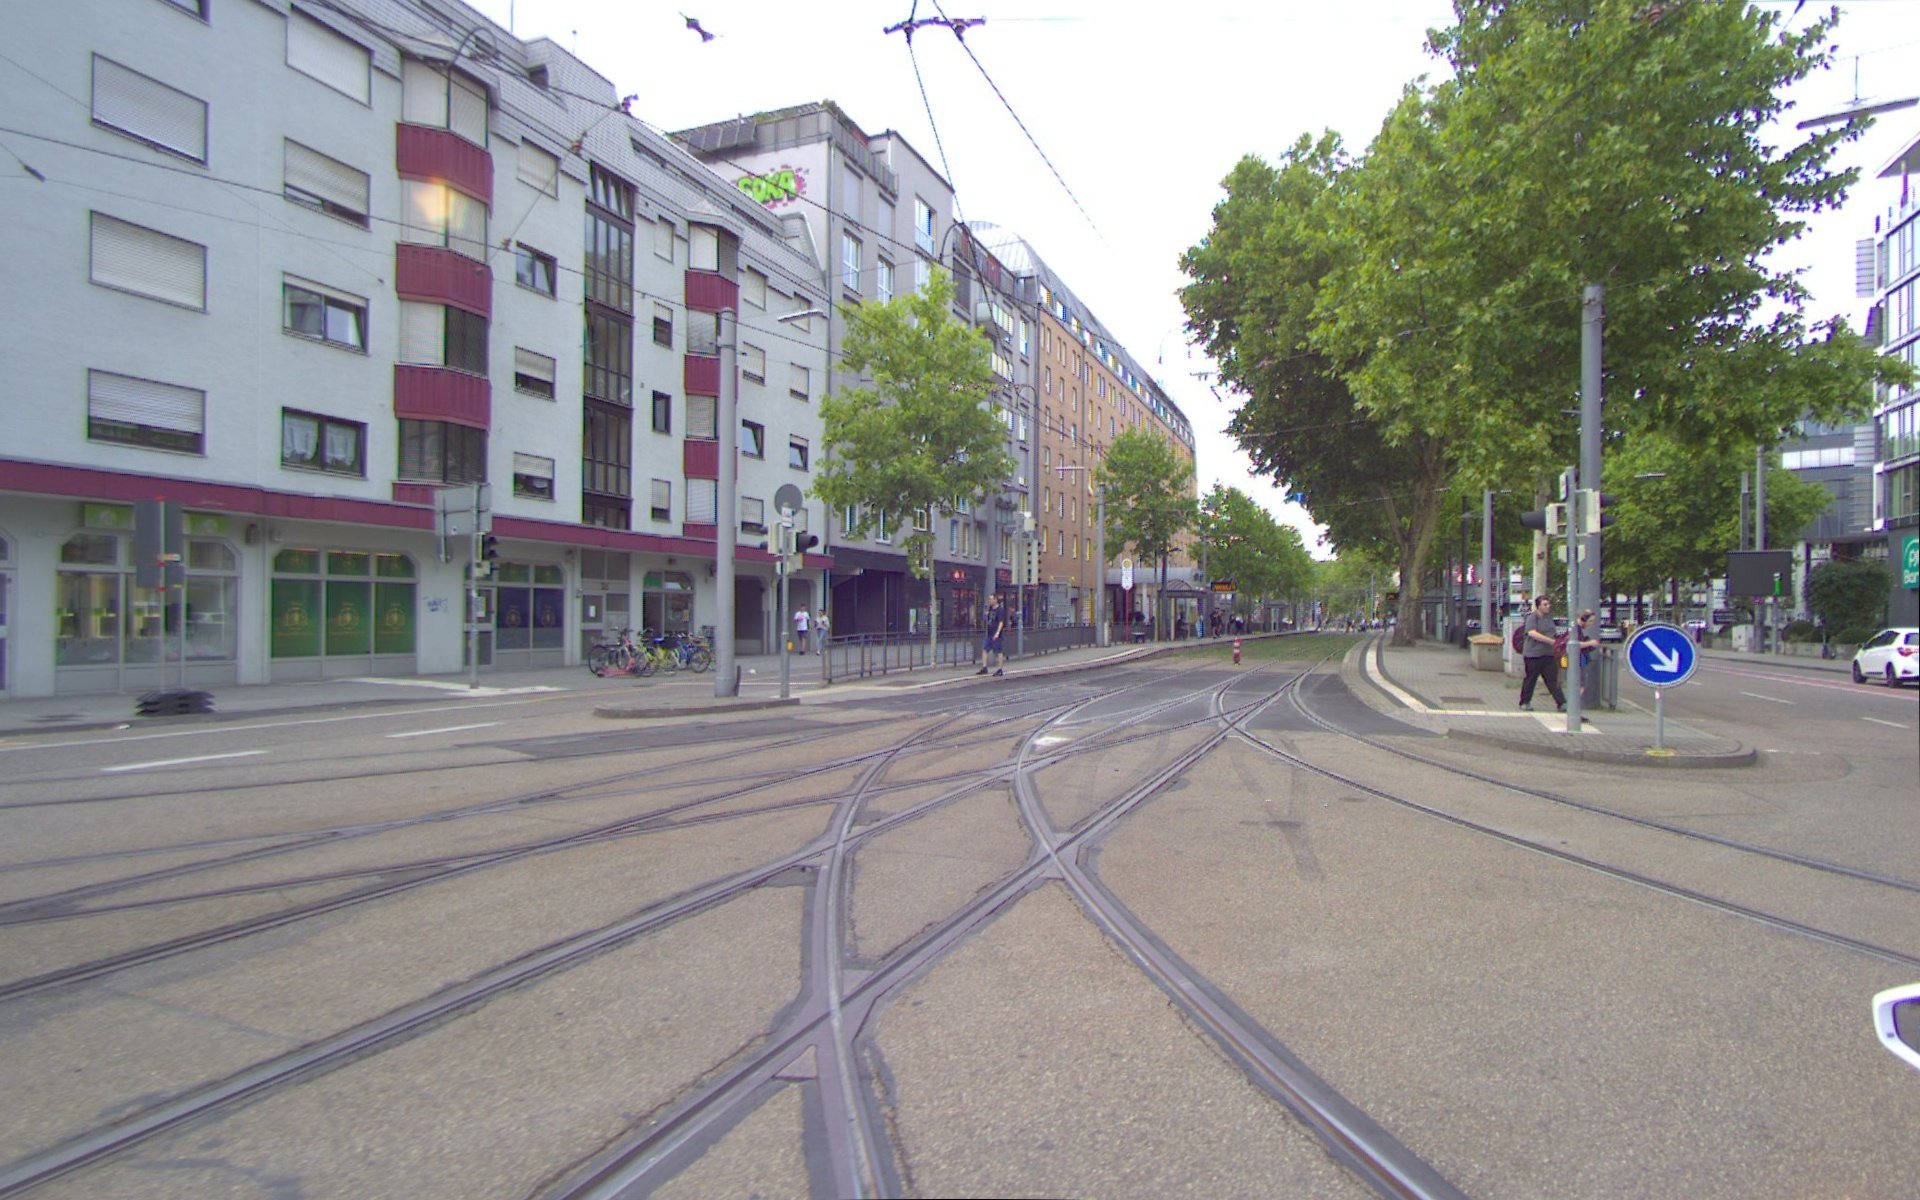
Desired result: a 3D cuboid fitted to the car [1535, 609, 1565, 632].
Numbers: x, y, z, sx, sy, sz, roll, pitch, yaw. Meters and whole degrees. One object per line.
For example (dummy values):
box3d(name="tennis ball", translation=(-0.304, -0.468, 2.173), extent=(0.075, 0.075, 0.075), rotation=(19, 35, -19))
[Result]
box3d(name="car", translation=(52.163, 1.808, 88.890), extent=(1.860, 1.928, 4.126), rotation=(0, -1, 25))

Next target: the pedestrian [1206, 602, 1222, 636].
box3d(name="pedestrian", translation=(14.695, 1.089, 58.119), extent=(0.801, 1.912, 0.785), rotation=(0, -1, 20))

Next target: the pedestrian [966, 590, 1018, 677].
box3d(name="pedestrian", translation=(0.712, 0.757, 22.756), extent=(0.987, 1.924, 0.802), rotation=(0, 0, -17))

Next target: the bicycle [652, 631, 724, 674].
box3d(name="bicycle", translation=(-7.535, 1.442, 27.816), extent=(1.847, 1.032, 0.628), rotation=(3, 0, 17))

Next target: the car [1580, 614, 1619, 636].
box3d(name="car", translation=(50.214, 1.940, 78.966), extent=(1.850, 1.603, 4.323), rotation=(0, 0, 23))

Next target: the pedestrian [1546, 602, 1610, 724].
box3d(name="pedestrian", translation=(8.892, 0.881, 14.490), extent=(0.752, 1.693, 0.936), rotation=(0, -1, 30))

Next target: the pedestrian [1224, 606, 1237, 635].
box3d(name="pedestrian", translation=(18.867, 1.407, 70.005), extent=(0.801, 2.019, 0.785), rotation=(0, -1, 21))

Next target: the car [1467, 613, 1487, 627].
box3d(name="car", translation=(57.364, 2.200, 111.446), extent=(1.806, 1.567, 4.211), rotation=(0, -1, 25))

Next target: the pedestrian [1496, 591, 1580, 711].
box3d(name="pedestrian", translation=(9.297, 0.801, 16.188), extent=(0.825, 1.880, 0.843), rotation=(0, -1, -11))

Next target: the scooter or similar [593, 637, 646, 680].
box3d(name="scooter or similar", translation=(-8.526, 1.467, 25.167), extent=(1.152, 1.001, 0.351), rotation=(3, -1, 0))

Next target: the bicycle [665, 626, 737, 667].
box3d(name="bicycle", translation=(-7.343, 1.312, 28.508), extent=(1.847, 1.032, 0.710), rotation=(3, 0, 17))

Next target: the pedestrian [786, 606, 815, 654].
box3d(name="pedestrian", translation=(-6.045, 1.126, 38.108), extent=(0.745, 1.799, 0.896), rotation=(0, 0, 24))

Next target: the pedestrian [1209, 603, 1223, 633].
box3d(name="pedestrian", translation=(16.472, 1.131, 64.633), extent=(0.801, 1.912, 0.785), rotation=(0, -1, 20))

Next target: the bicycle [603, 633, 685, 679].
box3d(name="bicycle", translation=(-8.292, 1.448, 26.341), extent=(2.140, 1.032, 0.627), rotation=(3, 0, 24))

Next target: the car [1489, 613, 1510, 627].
box3d(name="car", translation=(62.466, 2.295, 116.322), extent=(1.806, 1.541, 4.172), rotation=(0, -1, 25))

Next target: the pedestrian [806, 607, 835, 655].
box3d(name="pedestrian", translation=(-5.258, 1.162, 37.908), extent=(0.745, 1.758, 0.896), rotation=(0, 0, 24))

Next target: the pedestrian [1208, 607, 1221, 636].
box3d(name="pedestrian", translation=(17.039, 1.448, 67.198), extent=(0.801, 1.912, 0.785), rotation=(0, -1, 20))

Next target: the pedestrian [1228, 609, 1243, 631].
box3d(name="pedestrian", translation=(20.600, 1.522, 75.081), extent=(0.978, 1.622, 0.851), rotation=(0, -1, 21))

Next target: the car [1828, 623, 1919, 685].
box3d(name="car", translation=(24.259, 1.340, 25.829), extent=(1.806, 1.458, 4.184), rotation=(0, -1, 25))

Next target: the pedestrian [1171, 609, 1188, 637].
box3d(name="pedestrian", translation=(12.083, 1.263, 55.251), extent=(0.801, 1.557, 0.785), rotation=(0, -1, 20))

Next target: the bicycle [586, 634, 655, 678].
box3d(name="bicycle", translation=(-8.742, 1.430, 25.854), extent=(1.697, 1.032, 0.479), rotation=(3, 0, 17))

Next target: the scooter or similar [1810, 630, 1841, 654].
box3d(name="scooter or similar", translation=(36.510, 1.749, 42.385), extent=(0.579, 0.963, 1.857), rotation=(0, -1, 28))
